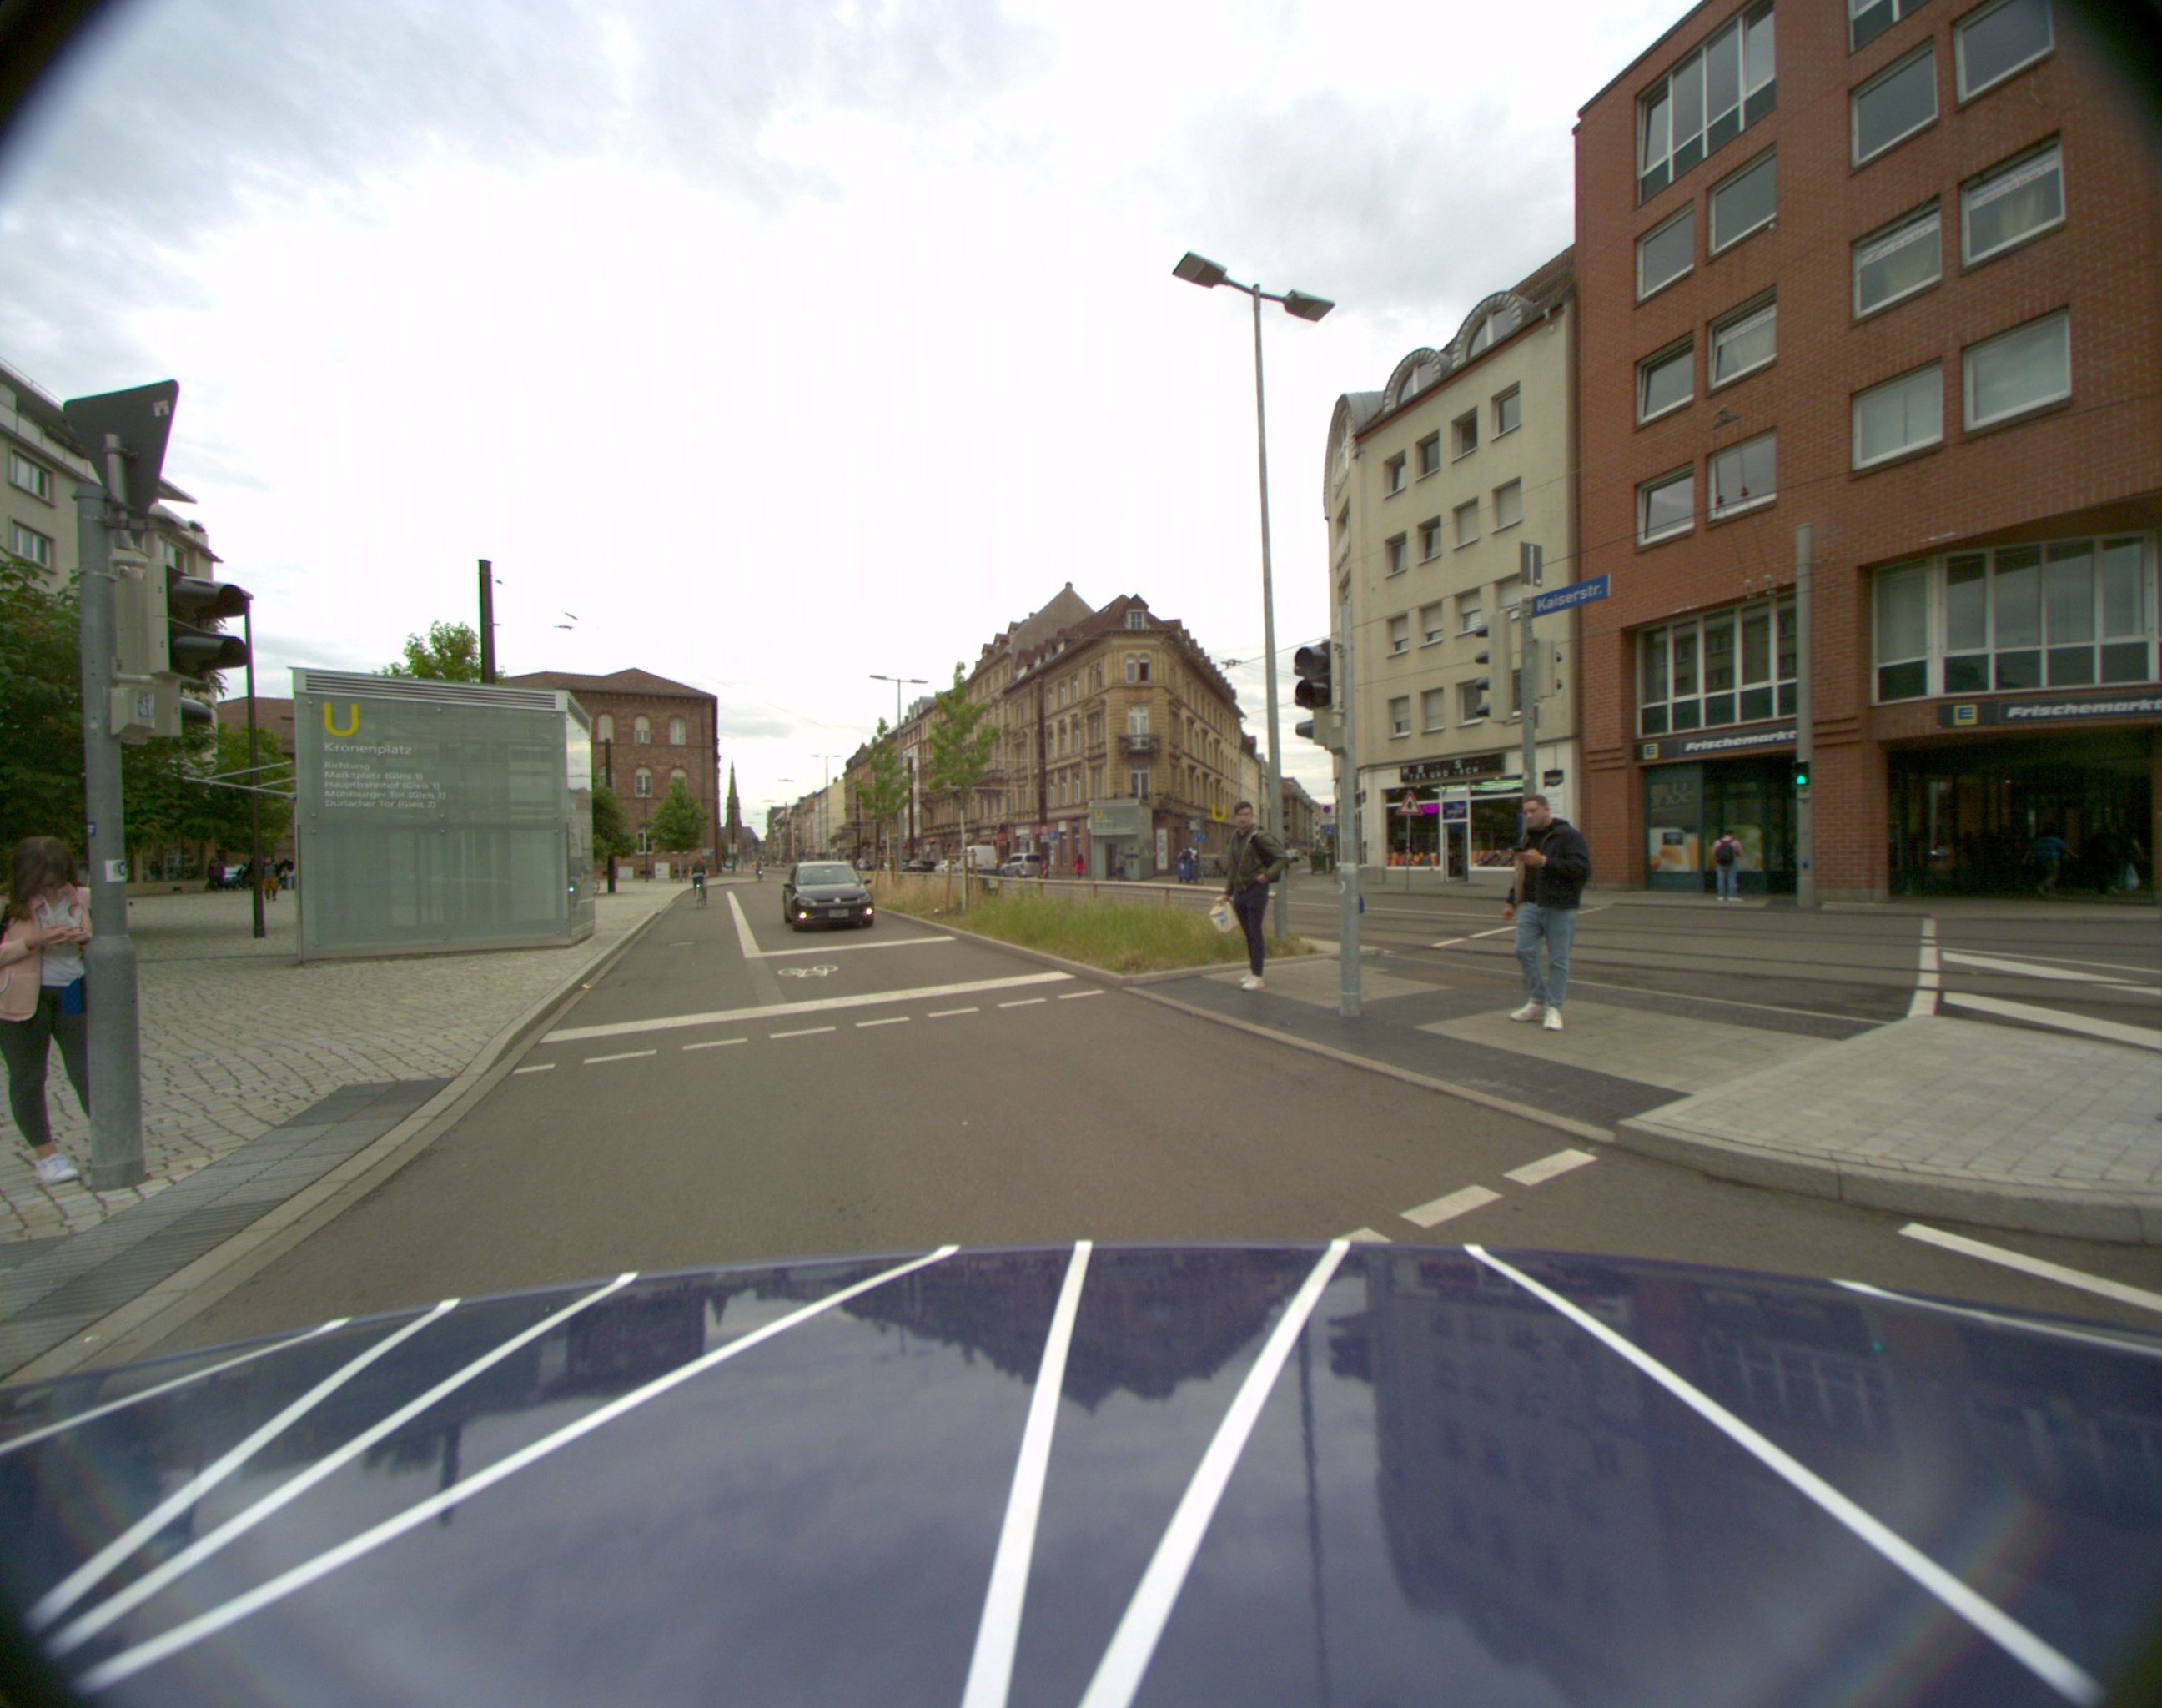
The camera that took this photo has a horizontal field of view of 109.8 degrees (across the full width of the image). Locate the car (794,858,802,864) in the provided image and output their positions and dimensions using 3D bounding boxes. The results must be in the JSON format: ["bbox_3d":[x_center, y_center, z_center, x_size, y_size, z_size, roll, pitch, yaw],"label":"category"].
[{"bbox_3d":[-75.935,1.966,203.830,1.872,1.553,3.992,1,0,-25],"label":"car"}]

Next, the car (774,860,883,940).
[{"bbox_3d":[-5.774,0.936,17.107,1.751,1.538,3.642,-2,1,-27],"label":"car"}]

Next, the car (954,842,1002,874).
[{"bbox_3d":[-8.429,0.328,61.708,2.062,2.472,5.653,1,-1,-26],"label":"car"}]

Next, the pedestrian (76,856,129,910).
[{"bbox_3d":[-35.002,1.022,27.193,0.774,1.874,0.853,-2,1,13],"label":"pedestrian"}]

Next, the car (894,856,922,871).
[{"bbox_3d":[-19.509,1.081,85.444,1.822,1.679,5.020,0,-1,-28],"label":"car"}]

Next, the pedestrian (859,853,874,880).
[{"bbox_3d":[-15.215,0.899,53.828,0.873,1.890,0.771,0,0,-27],"label":"pedestrian"}]

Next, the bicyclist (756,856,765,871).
[{"bbox_3d":[-25.092,0.763,59.493,0.588,1.164,0.661,-1,1,-26],"label":"bicyclist"}]

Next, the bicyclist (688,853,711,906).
[{"bbox_3d":[-12.377,0.812,24.666,0.571,1.674,0.792,-2,1,-22],"label":"bicyclist"}]

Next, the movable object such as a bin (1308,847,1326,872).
[{"bbox_3d":[14.475,0.339,46.640,0.945,1.492,1.240,-2,1,16],"label":"movable object such as a bin"}]

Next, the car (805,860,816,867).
[{"bbox_3d":[-62.796,2.198,176.588,1.932,1.722,3.819,-3,1,-26],"label":"car"}]

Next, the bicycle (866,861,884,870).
[{"bbox_3d":[-28.135,1.599,103.666,2.293,1.196,0.703,1,0,-25],"label":"bicycle"}]

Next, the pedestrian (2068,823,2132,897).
[{"bbox_3d":[23.895,0.134,17.830,0.747,1.674,0.797,-3,3,-30],"label":"pedestrian"}]

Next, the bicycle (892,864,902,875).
[{"bbox_3d":[-17.727,1.506,73.207,0.478,1.015,1.908,-1,0,-27],"label":"bicycle"}]

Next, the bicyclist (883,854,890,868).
[{"bbox_3d":[-20.131,0.695,78.573,0.481,1.399,0.810,-1,1,-27],"label":"bicyclist"}]

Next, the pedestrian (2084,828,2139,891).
[{"bbox_3d":[28.338,0.135,20.905,0.747,1.674,0.797,-3,3,-30],"label":"pedestrian"}]

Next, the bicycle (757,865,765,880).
[{"bbox_3d":[-25.058,1.442,59.491,0.473,1.151,2.268,-1,0,-26],"label":"bicycle"}]

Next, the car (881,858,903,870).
[{"bbox_3d":[-23.005,1.237,92.277,1.752,1.479,3.912,0,-1,-26],"label":"car"}]

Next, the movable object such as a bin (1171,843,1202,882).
[{"bbox_3d":[5.556,0.438,40.131,1.035,1.970,1.614,-1,2,-19],"label":"movable object such as a bin"}]

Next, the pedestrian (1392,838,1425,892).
[{"bbox_3d":[10.383,0.343,24.073,0.663,1.677,0.720,-2,2,-38],"label":"pedestrian"}]

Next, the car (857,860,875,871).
[{"bbox_3d":[-30.940,1.664,109.060,1.752,1.524,4.217,0,-1,-26],"label":"car"}]

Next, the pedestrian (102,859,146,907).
[{"bbox_3d":[-35.492,1.082,28.183,0.774,1.741,0.719,1,0,13],"label":"pedestrian"}]

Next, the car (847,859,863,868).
[{"bbox_3d":[-35.173,1.462,118.172,1.751,1.479,3.912,0,-1,-25],"label":"car"}]

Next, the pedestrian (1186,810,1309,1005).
[{"bbox_3d":[1.721,0.507,7.904,0.900,1.879,0.797,-3,3,-28],"label":"pedestrian"}]

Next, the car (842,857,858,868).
[{"bbox_3d":[-37.313,1.389,122.604,1.752,1.662,4.038,0,-1,-26],"label":"car"}]

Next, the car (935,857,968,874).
[{"bbox_3d":[-11.807,1.026,68.842,1.779,1.414,4.156,1,-1,-27],"label":"car"}]

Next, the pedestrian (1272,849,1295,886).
[{"bbox_3d":[9.314,0.603,34.957,0.662,1.677,0.923,-1,2,-10],"label":"pedestrian"}]

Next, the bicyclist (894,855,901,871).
[{"bbox_3d":[-17.697,0.869,73.164,0.493,1.531,0.810,-1,1,-27],"label":"bicyclist"}]

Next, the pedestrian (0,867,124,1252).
[{"bbox_3d":[-5.212,0.951,3.654,0.525,1.751,0.600,-3,1,-33],"label":"pedestrian"}]

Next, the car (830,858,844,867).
[{"bbox_3d":[-44.898,1.573,139.770,1.832,1.512,4.536,0,-1,-25],"label":"car"}]

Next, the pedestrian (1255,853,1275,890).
[{"bbox_3d":[8.427,0.803,34.843,0.662,1.677,0.722,-1,2,-10],"label":"pedestrian"}]

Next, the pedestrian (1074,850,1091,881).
[{"bbox_3d":[0.082,0.641,42.390,0.724,1.677,0.660,-2,2,-36],"label":"pedestrian"}]

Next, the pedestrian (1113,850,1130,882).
[{"bbox_3d":[2.198,0.651,41.373,0.825,1.677,0.722,-1,2,-8],"label":"pedestrian"}]

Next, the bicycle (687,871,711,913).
[{"bbox_3d":[-12.394,1.196,24.676,0.525,1.253,1.937,-1,1,-23],"label":"bicycle"}]

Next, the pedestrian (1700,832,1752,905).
[{"bbox_3d":[15.305,0.337,18.033,0.572,1.674,0.797,-3,3,-30],"label":"pedestrian"}]

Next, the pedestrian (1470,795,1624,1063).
[{"bbox_3d":[3.533,0.515,5.801,0.613,1.879,0.797,-2,2,-28],"label":"pedestrian"}]

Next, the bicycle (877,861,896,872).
[{"bbox_3d":[-24.429,1.592,95.454,2.293,1.321,0.665,1,0,-25],"label":"bicycle"}]

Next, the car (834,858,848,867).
[{"bbox_3d":[-42.943,1.534,135.780,1.752,1.456,4.038,0,-1,-26],"label":"car"}]

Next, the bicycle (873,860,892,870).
[{"bbox_3d":[-25.519,1.451,97.843,2.293,1.321,0.665,1,0,-25],"label":"bicycle"}]

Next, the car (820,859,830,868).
[{"bbox_3d":[-53.128,1.956,157.710,1.710,1.746,3.912,0,0,-24],"label":"car"}]

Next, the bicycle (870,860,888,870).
[{"bbox_3d":[-26.914,1.486,101.215,2.293,1.321,0.665,1,0,-25],"label":"bicycle"}]

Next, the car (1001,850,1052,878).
[{"bbox_3d":[-3.817,0.666,52.241,1.912,1.853,4.510,0,0,-27],"label":"car"}]

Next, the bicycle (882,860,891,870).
[{"bbox_3d":[-20.146,1.146,78.698,0.481,1.015,1.908,-1,0,-27],"label":"bicycle"}]

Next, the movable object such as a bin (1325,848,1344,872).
[{"bbox_3d":[15.466,0.333,46.349,1.009,1.397,1.240,-2,1,16],"label":"movable object such as a bin"}]

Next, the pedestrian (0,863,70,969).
[{"bbox_3d":[-17.312,0.983,12.429,0.628,1.674,0.868,0,1,-29],"label":"pedestrian"}]

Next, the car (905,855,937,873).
[{"bbox_3d":[-16.230,1.003,77.074,1.928,1.679,5.041,1,-1,-27],"label":"car"}]

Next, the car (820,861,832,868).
[{"bbox_3d":[-51.461,2.107,153.256,1.655,1.372,3.429,0,-1,-28],"label":"car"}]
